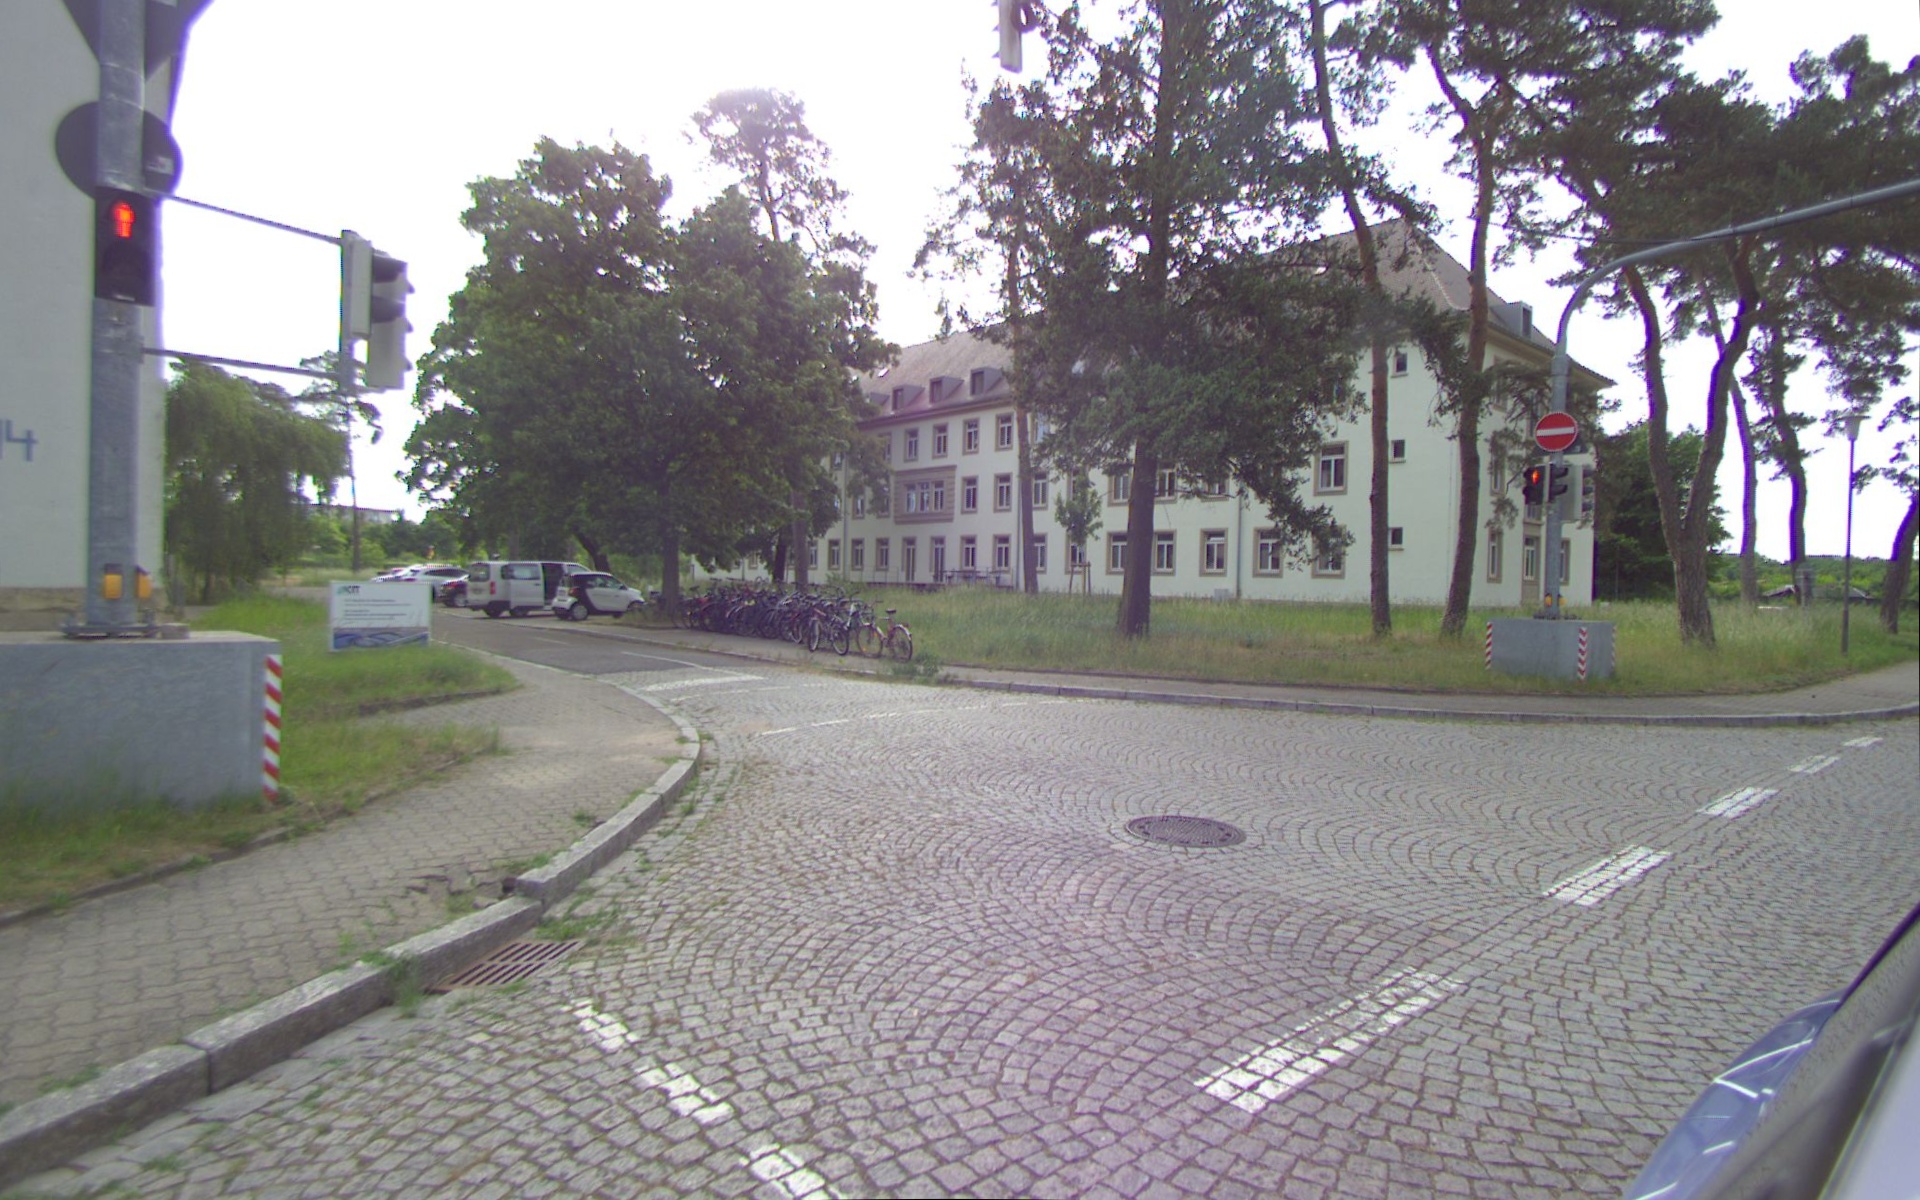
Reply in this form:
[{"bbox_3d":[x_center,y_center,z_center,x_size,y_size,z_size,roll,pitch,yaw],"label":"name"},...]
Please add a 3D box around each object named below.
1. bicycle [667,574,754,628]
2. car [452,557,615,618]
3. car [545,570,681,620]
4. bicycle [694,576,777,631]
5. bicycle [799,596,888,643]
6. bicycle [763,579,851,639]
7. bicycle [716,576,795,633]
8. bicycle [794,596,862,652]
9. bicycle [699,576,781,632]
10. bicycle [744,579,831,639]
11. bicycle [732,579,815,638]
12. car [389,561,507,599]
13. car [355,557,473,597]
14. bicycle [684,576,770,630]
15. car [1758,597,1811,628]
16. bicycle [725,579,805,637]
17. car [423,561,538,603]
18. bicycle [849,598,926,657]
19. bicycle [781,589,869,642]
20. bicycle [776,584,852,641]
[{"bbox_3d":[-6.565,0.028,26.681,2.062,1.384,0.760,1,1,-36],"label":"bicycle"},{"bbox_3d":[-14.671,-0.433,35.079,2.224,1.933,4.804,2,1,33],"label":"car"},{"bbox_3d":[-11.454,-0.174,33.510,3.861,1.549,1.861,0,1,-40],"label":"car"},{"bbox_3d":[-5.697,0.089,25.739,1.977,1.336,0.542,1,1,-36],"label":"bicycle"},{"bbox_3d":[-2.500,0.404,21.816,1.866,0.961,0.543,0,1,-36],"label":"bicycle"},{"bbox_3d":[-3.492,0.207,23.260,2.009,1.336,0.439,1,1,-36],"label":"bicycle"},{"bbox_3d":[-4.993,0.103,24.791,1.818,1.336,0.557,1,1,-36],"label":"bicycle"},{"bbox_3d":[-2.580,0.447,19.673,0.533,1.027,1.539,1,1,-41],"label":"bicycle"},{"bbox_3d":[-5.464,0.093,25.190,1.902,1.336,0.555,1,1,-36],"label":"bicycle"},{"bbox_3d":[-4.003,0.200,23.568,1.938,1.336,0.578,1,1,-36],"label":"bicycle"},{"bbox_3d":[-4.401,0.194,24.004,1.883,1.336,0.507,1,1,-36],"label":"bicycle"},{"bbox_3d":[-23.278,-0.906,46.095,4.437,1.638,1.997,0,1,-41],"label":"car"},{"bbox_3d":[-25.881,-1.068,48.060,4.613,1.795,1.997,0,1,-41],"label":"car"},{"bbox_3d":[-6.016,0.082,26.217,2.092,1.336,0.556,1,1,-36],"label":"bicycle"},{"bbox_3d":[43.334,0.625,53.182,3.222,1.451,1.640,-2,3,-41],"label":"car"},{"bbox_3d":[-4.673,0.187,24.367,1.882,1.336,0.393,1,1,-36],"label":"bicycle"},{"bbox_3d":[-19.731,-0.743,41.698,3.930,1.638,1.997,0,1,-41],"label":"car"},{"bbox_3d":[-1.334,0.479,18.435,0.521,0.992,1.623,1,1,-41],"label":"bicycle"},{"bbox_3d":[-2.961,0.325,22.281,1.866,1.115,0.543,1,1,-36],"label":"bicycle"},{"bbox_3d":[-3.282,0.274,22.770,1.608,1.231,0.543,1,1,-36],"label":"bicycle"}]
